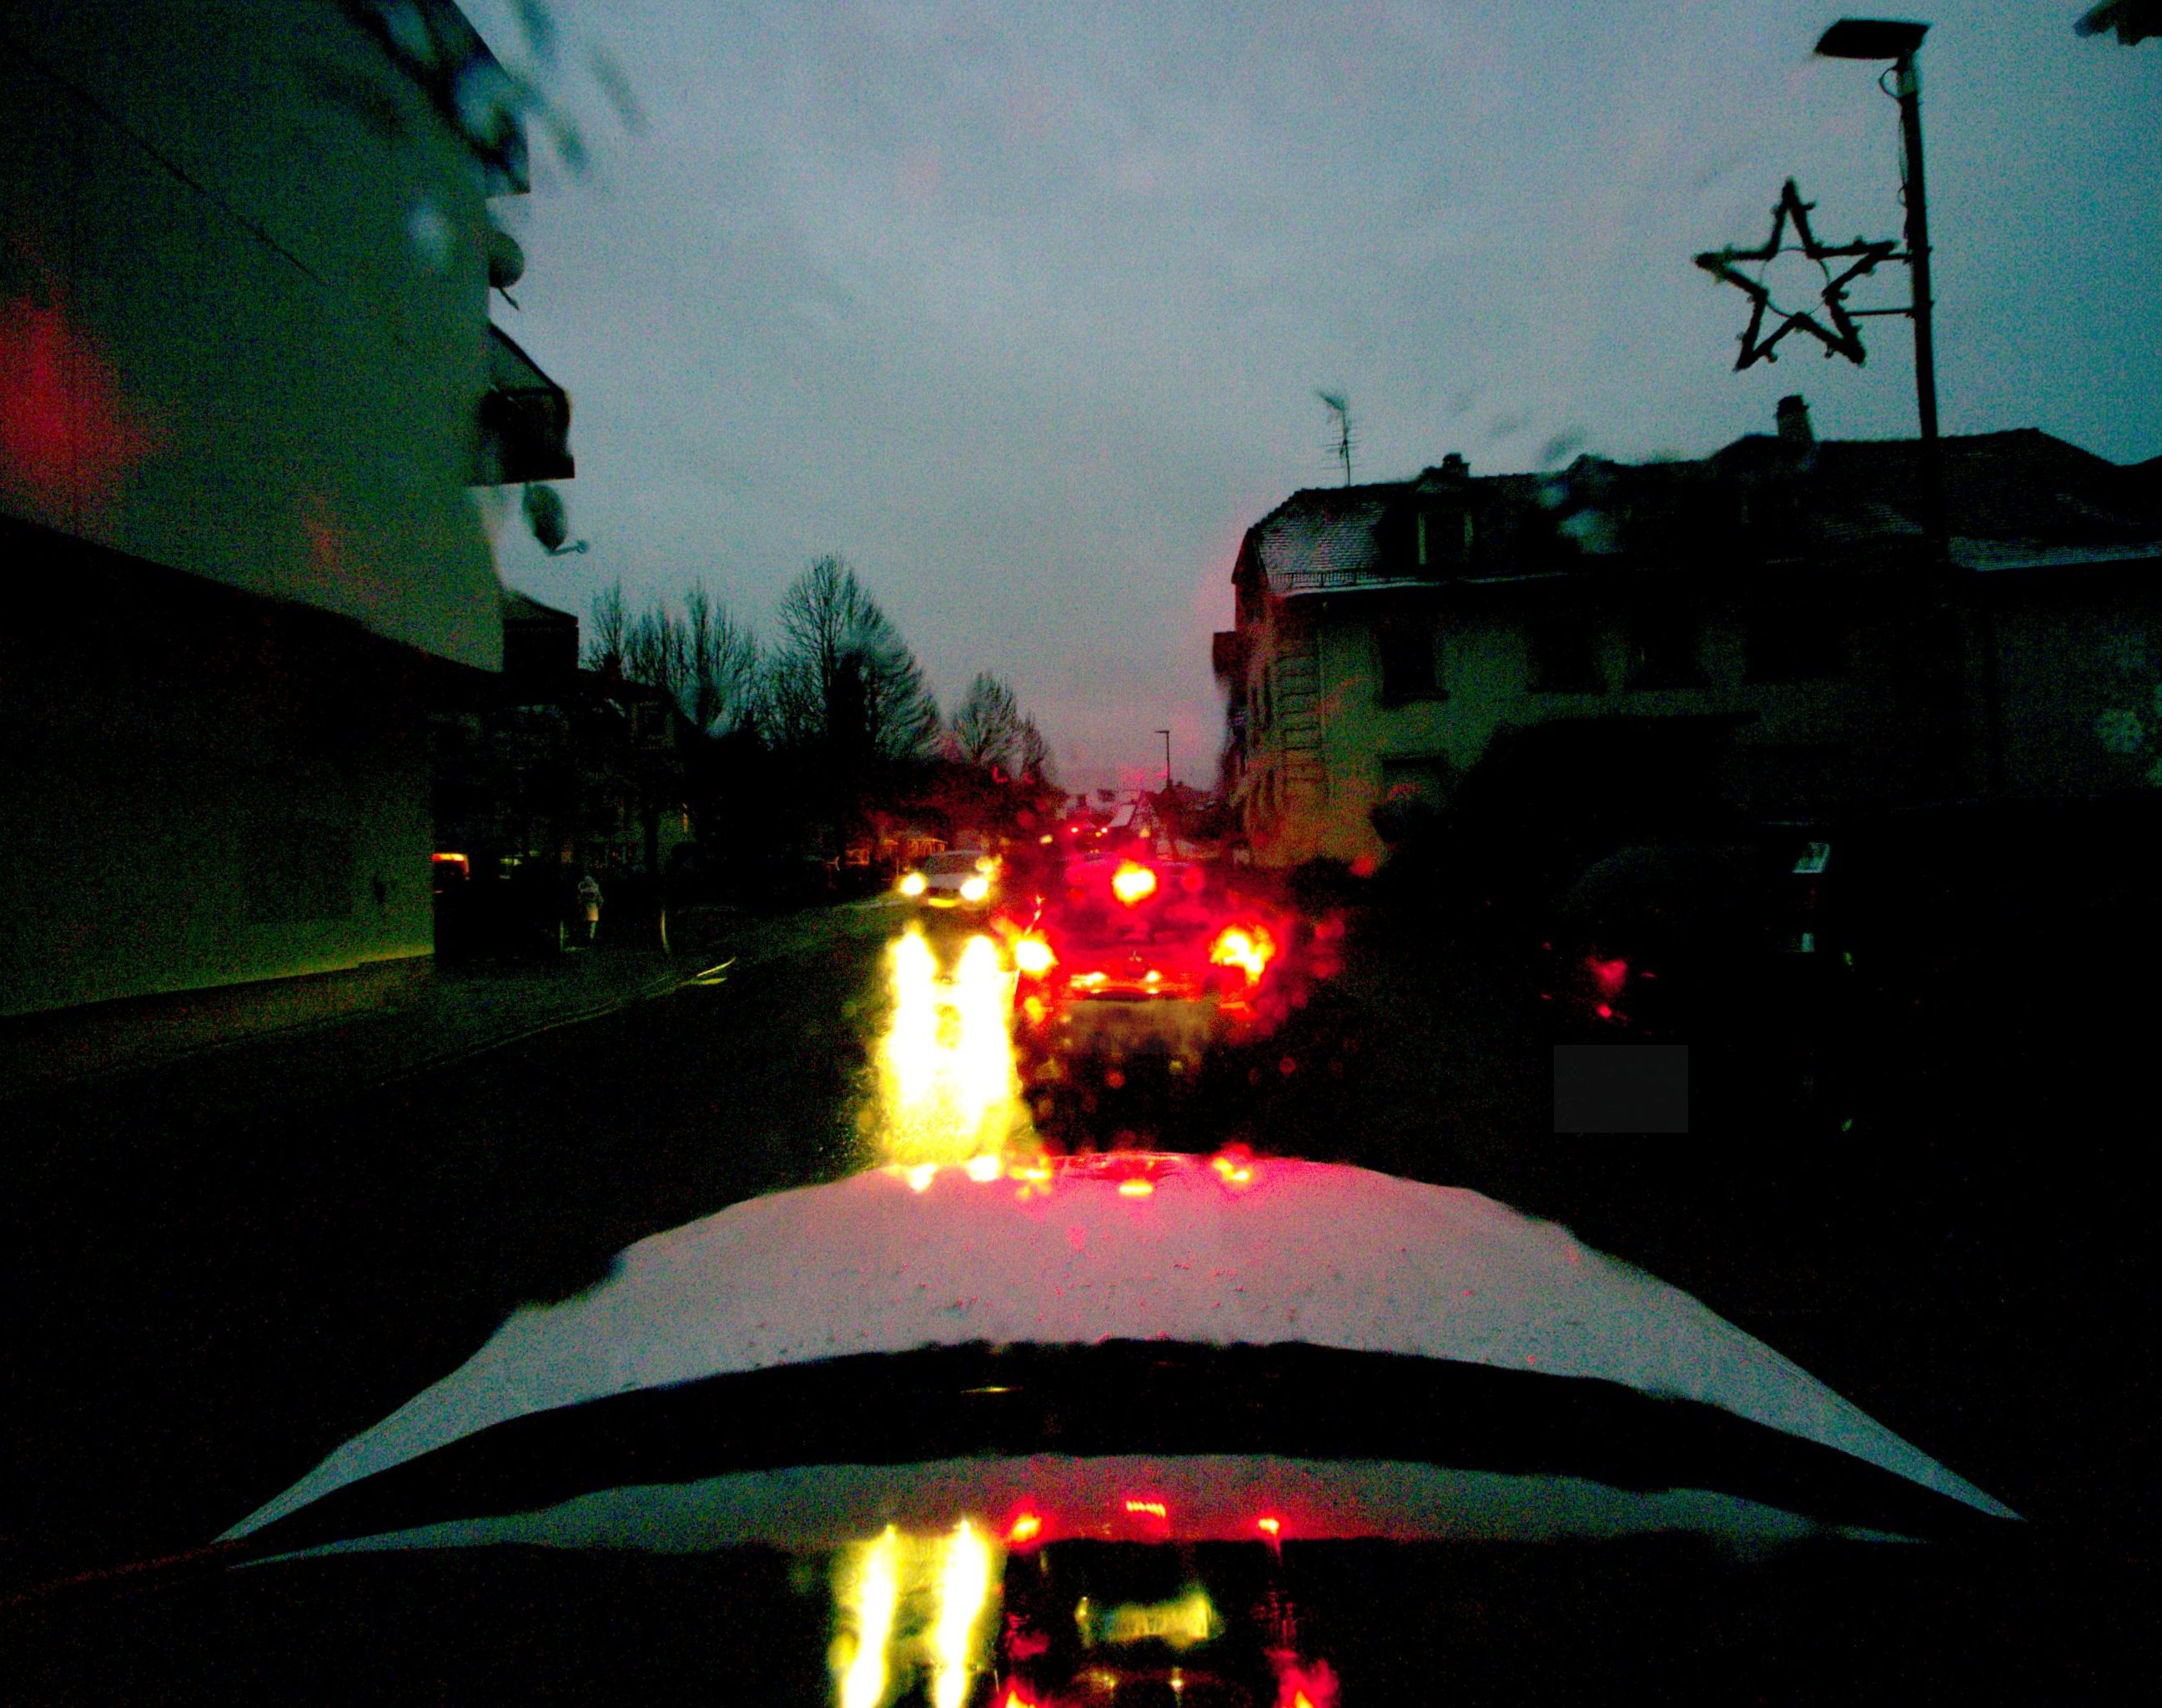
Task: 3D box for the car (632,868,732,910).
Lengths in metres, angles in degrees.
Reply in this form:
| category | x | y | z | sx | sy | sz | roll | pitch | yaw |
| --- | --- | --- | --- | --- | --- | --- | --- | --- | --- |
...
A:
| category | x | y | z | sx | sy | sz | roll | pitch | yaw |
| --- | --- | --- | --- | --- | --- | --- | --- | --- | --- |
| car | -18.167 | 1.591 | 37.079 | 3.953 | 1.730 | 1.829 | -2 | 0 | 21 |

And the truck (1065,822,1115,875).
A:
| category | x | y | z | sx | sy | sz | roll | pitch | yaw |
| --- | --- | --- | --- | --- | --- | --- | --- | --- | --- |
| truck | 0.502 | -0.326 | 53.247 | 3.006 | 3.128 | 7.997 | -1 | 0 | -1 |

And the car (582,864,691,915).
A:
| category | x | y | z | sx | sy | sz | roll | pitch | yaw |
| --- | --- | --- | --- | --- | --- | --- | --- | --- | --- |
| car | -18.719 | 1.501 | 34.294 | 3.953 | 1.988 | 1.829 | -2 | 0 | 21 |

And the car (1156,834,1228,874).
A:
| category | x | y | z | sx | sy | sz | roll | pitch | yaw |
| --- | --- | --- | --- | --- | --- | --- | --- | --- | --- |
| car | 6.570 | -0.002 | 48.070 | 4.073 | 2.163 | 1.918 | -2 | 0 | 8 |

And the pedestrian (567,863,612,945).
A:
| category | x | y | z | sx | sy | sz | roll | pitch | yaw |
| --- | --- | --- | --- | --- | --- | --- | --- | --- | --- |
| pedestrian | -9.109 | 0.905 | 15.084 | 0.653 | 1.458 | 0.643 | -1 | 0 | -35 |

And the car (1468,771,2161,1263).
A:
| category | x | y | z | sx | sy | sz | roll | pitch | yaw |
| --- | --- | --- | --- | --- | --- | --- | --- | --- | --- |
| car | 4.102 | 0.486 | 3.710 | 3.862 | 1.579 | 1.680 | -3 | 0 | -4 |

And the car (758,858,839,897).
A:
| category | x | y | z | sx | sy | sz | roll | pitch | yaw |
| --- | --- | --- | --- | --- | --- | --- | --- | --- | --- |
| car | -15.656 | 1.318 | 45.162 | 3.953 | 1.998 | 1.829 | -2 | 0 | 21 |

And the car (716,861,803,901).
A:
| category | x | y | z | sx | sy | sz | roll | pitch | yaw |
| --- | --- | --- | --- | --- | --- | --- | --- | --- | --- |
| car | -16.686 | 1.414 | 42.310 | 3.953 | 1.910 | 1.829 | -2 | 0 | 21 |

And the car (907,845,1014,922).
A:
| category | x | y | z | sx | sy | sz | roll | pitch | yaw |
| --- | --- | --- | --- | --- | --- | --- | --- | --- | --- |
| car | -2.780 | 0.619 | 19.778 | 1.804 | 1.596 | 4.401 | -2 | 0 | 1 |

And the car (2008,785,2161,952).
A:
| category | x | y | z | sx | sy | sz | roll | pitch | yaw |
| --- | --- | --- | --- | --- | --- | --- | --- | --- | --- |
| car | 12.143 | 0.042 | 7.881 | 3.973 | 1.570 | 2.000 | -3 | -1 | 1 |

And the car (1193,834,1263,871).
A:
| category | x | y | z | sx | sy | sz | roll | pitch | yaw |
| --- | --- | --- | --- | --- | --- | --- | --- | --- | --- |
| car | 9.043 | -0.108 | 50.291 | 4.073 | 2.151 | 1.918 | -2 | 0 | 8 |

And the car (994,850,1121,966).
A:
| category | x | y | z | sx | sy | sz | roll | pitch | yaw |
| --- | --- | --- | --- | --- | --- | --- | --- | --- | --- |
| car | -0.302 | 0.705 | 12.336 | 1.632 | 1.481 | 3.271 | -1 | 0 | 0 |

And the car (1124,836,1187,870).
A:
| category | x | y | z | sx | sy | sz | roll | pitch | yaw |
| --- | --- | --- | --- | --- | --- | --- | --- | --- | --- |
| car | 5.139 | -0.067 | 55.851 | 4.073 | 2.151 | 1.918 | -2 | 0 | 8 |

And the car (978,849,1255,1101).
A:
| category | x | y | z | sx | sy | sz | roll | pitch | yaw |
| --- | --- | --- | --- | --- | --- | --- | --- | --- | --- |
| car | 0.267 | 0.730 | 6.582 | 1.632 | 1.481 | 3.380 | -1 | 0 | 2 |
